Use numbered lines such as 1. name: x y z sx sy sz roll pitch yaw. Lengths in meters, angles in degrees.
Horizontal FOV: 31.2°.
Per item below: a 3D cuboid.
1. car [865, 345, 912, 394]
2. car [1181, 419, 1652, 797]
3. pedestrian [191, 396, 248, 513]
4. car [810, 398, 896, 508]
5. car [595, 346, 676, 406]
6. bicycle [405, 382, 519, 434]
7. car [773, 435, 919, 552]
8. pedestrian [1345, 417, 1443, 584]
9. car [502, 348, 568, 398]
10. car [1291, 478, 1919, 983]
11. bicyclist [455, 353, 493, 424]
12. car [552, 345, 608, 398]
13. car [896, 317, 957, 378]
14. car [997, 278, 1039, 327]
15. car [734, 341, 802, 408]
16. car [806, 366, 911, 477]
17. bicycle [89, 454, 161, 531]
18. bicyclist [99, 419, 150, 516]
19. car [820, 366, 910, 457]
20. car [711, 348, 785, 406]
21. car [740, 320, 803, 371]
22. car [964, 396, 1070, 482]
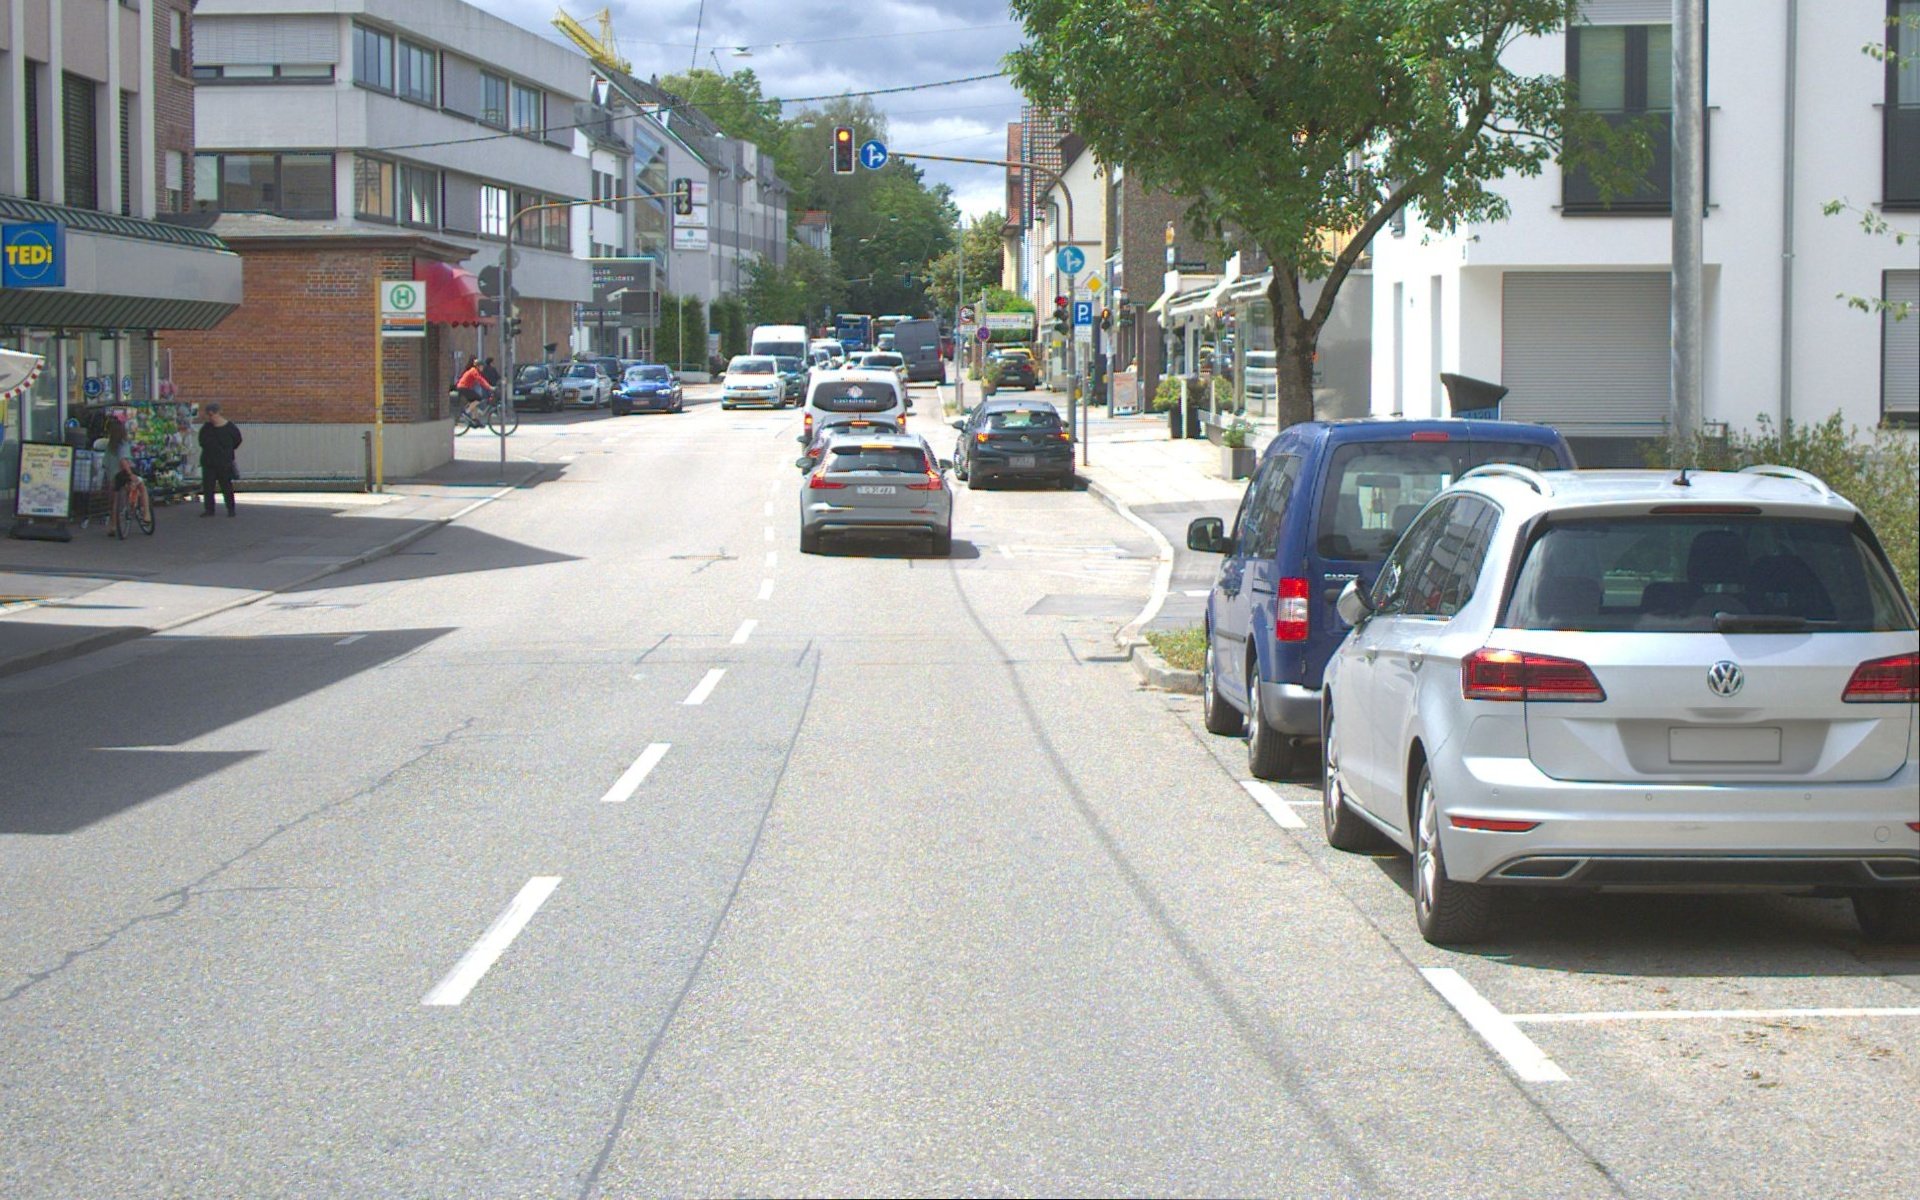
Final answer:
1. car: -2.546 -8.217 122.750 1.635 1.650 3.851 0 2 -1
2. car: 2.293 -0.045 18.443 1.844 1.761 4.516 1 2 -1
3. pedestrian: -10.229 -2.012 47.513 0.628 1.597 0.562 1 2 5
4. car: -1.633 -2.284 52.797 1.273 1.522 3.051 0 6 -1
5. car: -9.614 -6.643 102.162 1.873 1.634 4.000 2 2 2
6. bicycle: -11.470 -4.424 79.202 2.524 1.170 0.585 -1 2 2
7. car: -1.397 -1.375 43.340 1.744 1.412 4.001 0 3 -1
8. pedestrian: 4.320 -0.996 34.217 0.737 1.641 0.616 -2 3 -34
9. car: -12.534 -6.692 101.510 1.551 1.371 3.399 0 2 -1
10. car: 2.350 0.321 12.573 1.786 1.504 4.365 1 2 -1
11. bicyclist: -11.185 -4.873 79.180 0.772 1.601 0.581 0 2 1
12. car: -11.777 -7.080 106.624 1.384 1.535 3.399 0 2 -1
13. car: -1.421 -10.449 142.645 2.436 2.310 5.327 2 3 -1
14. car: 2.627 -13.520 156.447 1.802 2.006 4.001 0 2 -1
15. car: -6.274 -7.363 112.555 1.993 2.006 4.001 2 2 -1
16. car: -1.827 -3.281 62.662 1.836 1.855 3.852 1 5 -1
17. bicycle: -10.256 -1.330 42.273 0.467 0.858 1.777 2 4 -1
18. bicyclist: -10.270 -1.632 42.271 0.458 1.175 0.625 0 3 -1
19. car: -2.003 -4.002 73.367 1.836 1.855 3.851 1 3 -1
20. car: -6.495 -6.827 105.546 1.873 1.634 4.000 2 2 2
21. car: -6.554 -8.875 119.998 1.873 1.634 4.000 0 2 2
22. car: 0.948 -2.789 59.018 1.753 1.366 4.001 0 4 0
